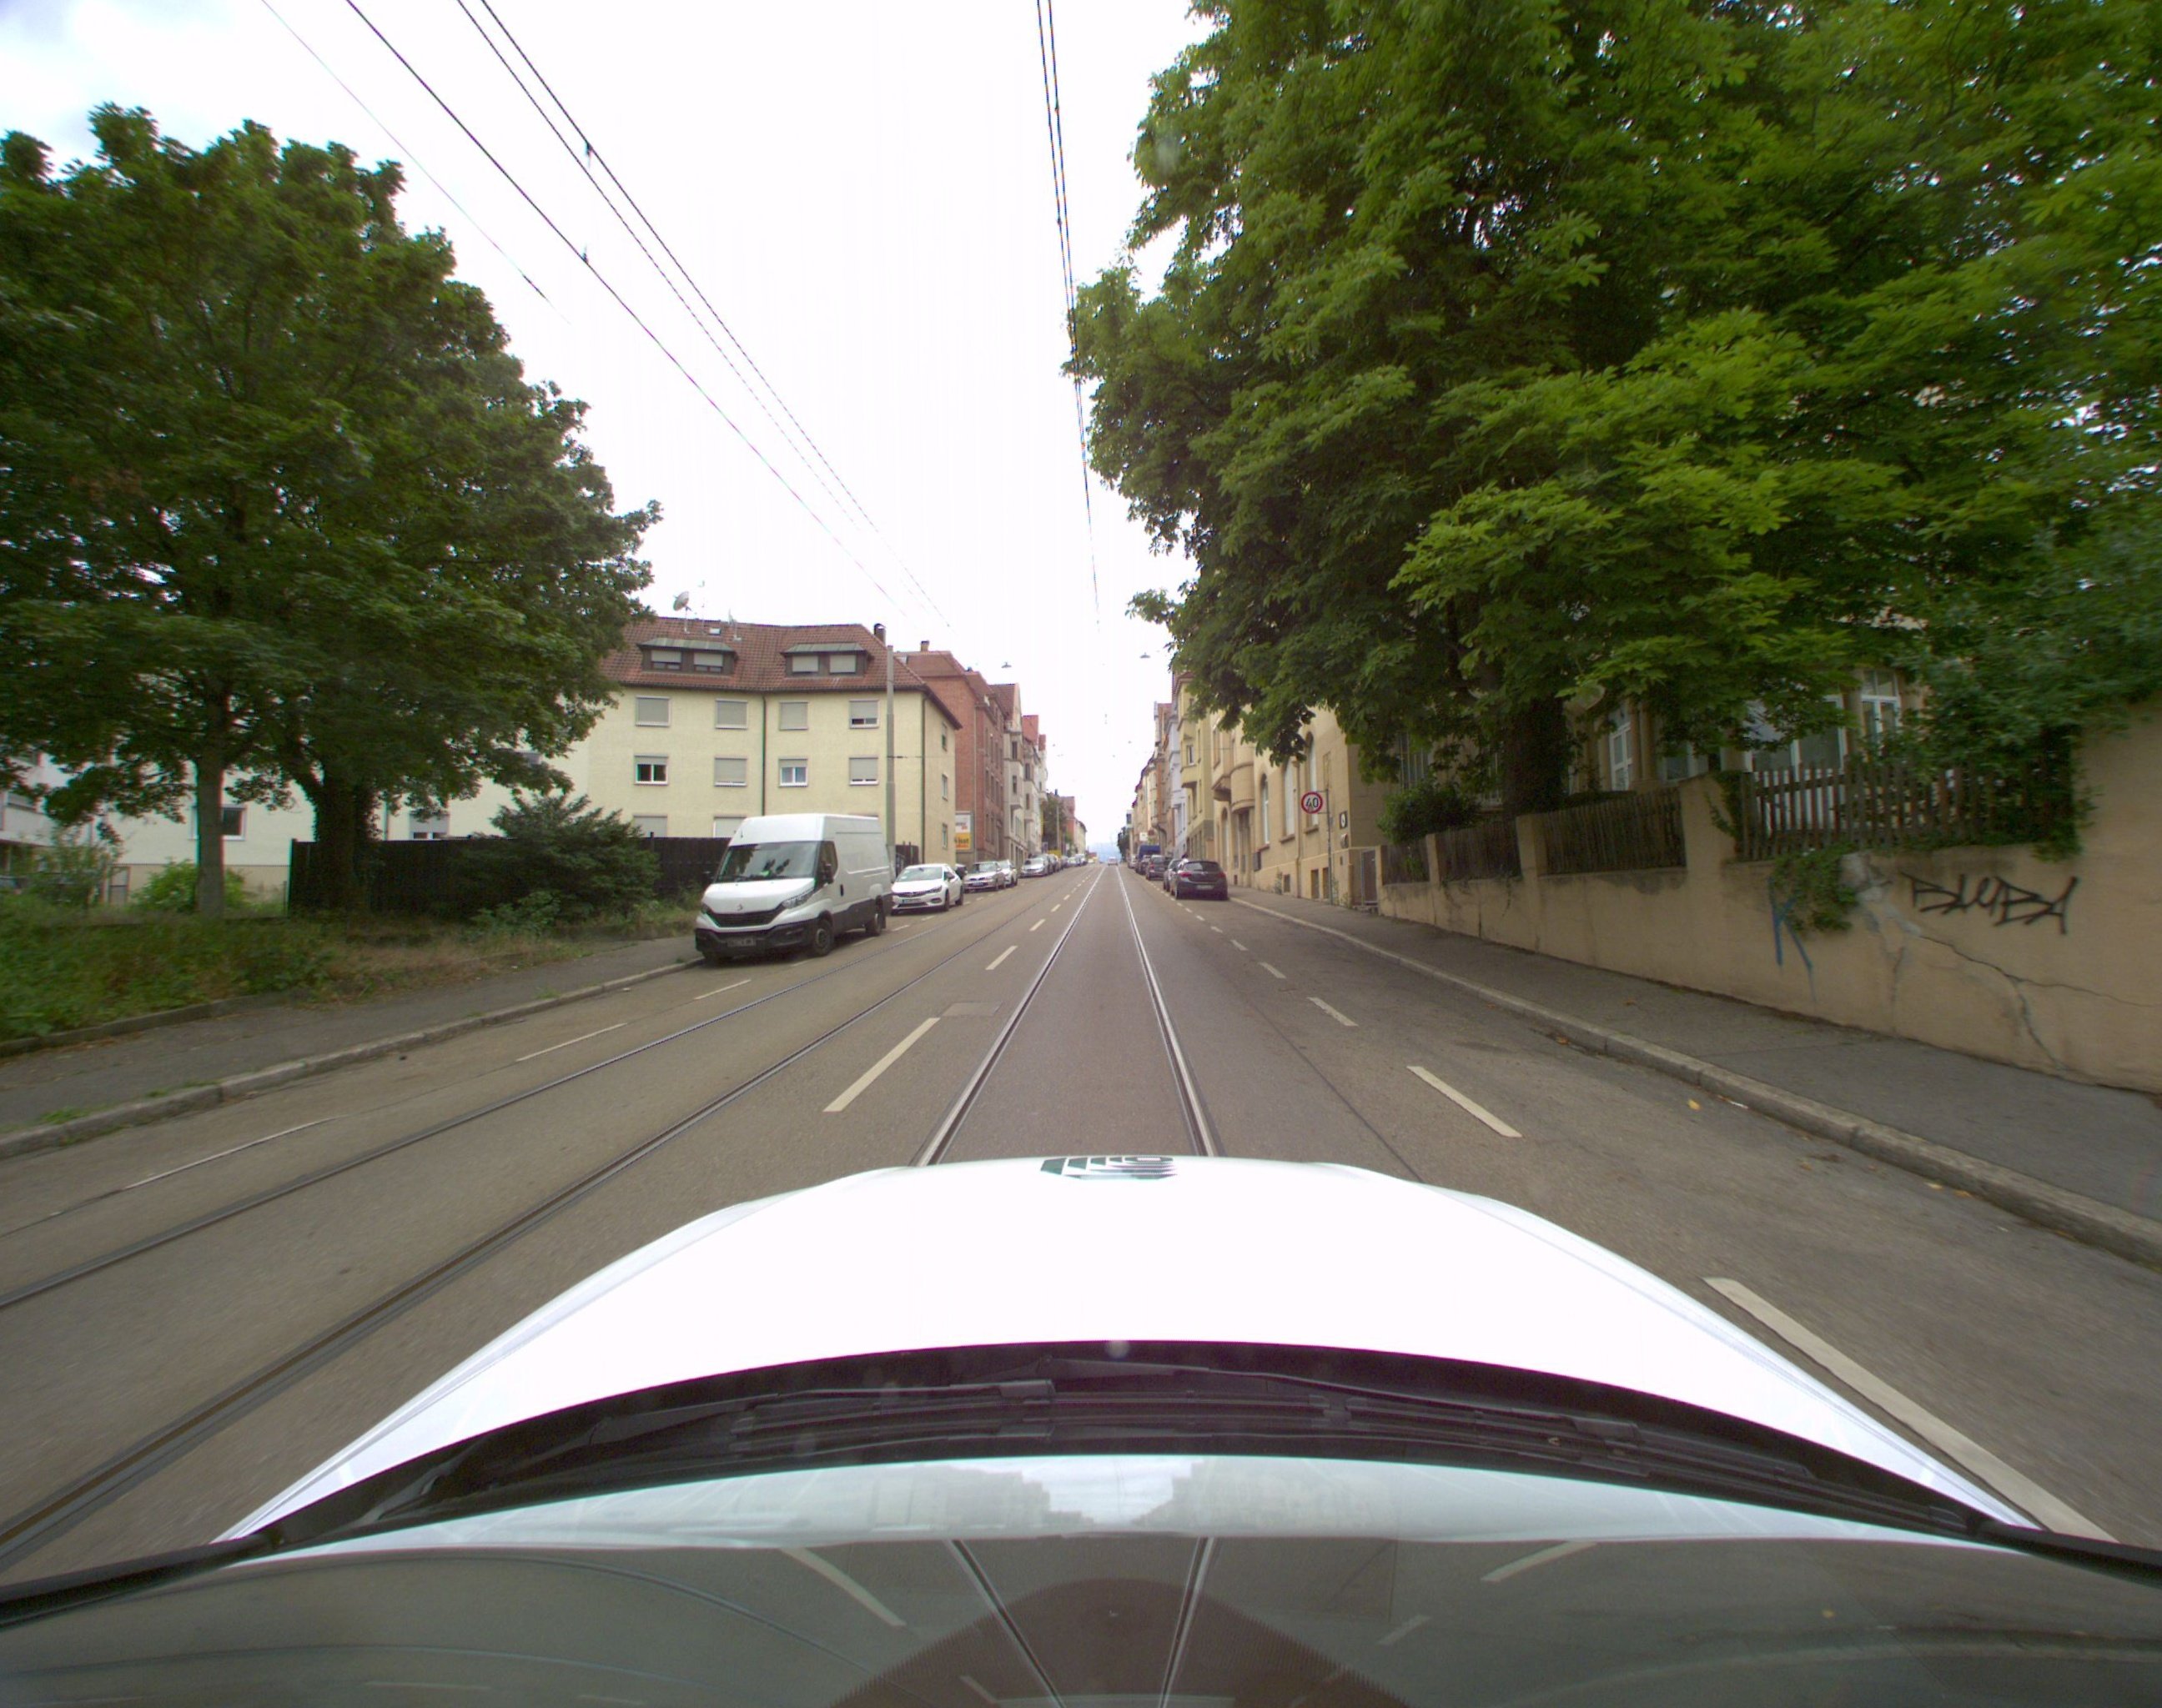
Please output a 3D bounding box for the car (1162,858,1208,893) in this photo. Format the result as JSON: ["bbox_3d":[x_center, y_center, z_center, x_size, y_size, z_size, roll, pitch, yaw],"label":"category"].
[{"bbox_3d":[4.541,0.895,35.946,1.688,1.404,3.670,1,0,3],"label":"car"}]

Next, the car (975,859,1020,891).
[{"bbox_3d":[-4.396,1.067,43.484,1.822,1.429,4.627,-5,0,0],"label":"car"}]

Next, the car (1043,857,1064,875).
[{"bbox_3d":[-2.779,1.194,82.717,1.690,1.594,4.271,-3,0,3],"label":"car"}]

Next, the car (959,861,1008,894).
[{"bbox_3d":[-4.594,1.092,38.994,1.594,1.368,3.810,-5,0,3],"label":"car"}]

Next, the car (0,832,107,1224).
[{"bbox_3d":[-5.937,0.836,1.776,1.754,1.775,4.672,-5,-1,3],"label":"car"}]

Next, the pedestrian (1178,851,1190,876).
[{"bbox_3d":[7.236,0.649,57.142,0.540,1.682,0.515,-5,-3,-6],"label":"pedestrian"}]

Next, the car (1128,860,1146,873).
[{"bbox_3d":[6.157,1.347,90.459,1.744,1.390,4.308,1,-1,1],"label":"car"}]

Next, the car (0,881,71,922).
[{"bbox_3d":[-40.388,1.779,30.825,1.682,1.415,3.691,1,-1,-34],"label":"car"}]

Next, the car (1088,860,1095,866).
[{"bbox_3d":[2.971,2.543,230.665,1.848,1.607,4.299,-1,-1,2],"label":"car"}]

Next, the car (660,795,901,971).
[{"bbox_3d":[-5.396,0.461,15.876,2.151,2.606,6.219,-4,0,1],"label":"car"}]

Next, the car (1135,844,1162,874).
[{"bbox_3d":[5.644,0.462,68.764,1.986,2.376,5.058,-1,-1,2],"label":"car"}]

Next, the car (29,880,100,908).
[{"bbox_3d":[-57.203,2.255,45.902,1.463,1.479,3.739,1,-3,-35],"label":"car"}]

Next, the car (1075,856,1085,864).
[{"bbox_3d":[-0.171,1.212,156.013,1.691,1.433,4.481,-3,-1,1],"label":"car"}]

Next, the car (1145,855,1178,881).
[{"bbox_3d":[4.988,0.864,51.004,1.820,1.519,4.030,1,0,3],"label":"car"}]

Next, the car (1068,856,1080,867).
[{"bbox_3d":[-1.150,1.224,137.539,1.736,1.736,4.523,-3,-1,4],"label":"car"}]

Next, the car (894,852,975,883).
[{"bbox_3d":[-10.122,0.924,56.576,5.161,1.818,1.939,-3,0,-2],"label":"car"}]

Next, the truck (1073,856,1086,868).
[{"bbox_3d":[-0.259,1.598,164.250,2.270,2.188,8.031,-1,-1,3],"label":"truck"}]

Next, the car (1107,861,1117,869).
[{"bbox_3d":[5.597,2.006,148.710,1.666,1.513,3.798,-1,-1,1],"label":"car"}]

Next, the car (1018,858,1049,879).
[{"bbox_3d":[-3.600,1.081,62.902,1.820,1.429,4.842,-3,0,3],"label":"car"}]

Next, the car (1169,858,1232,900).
[{"bbox_3d":[4.291,0.890,29.759,1.832,1.403,4.169,1,-1,2],"label":"car"}]

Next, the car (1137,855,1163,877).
[{"bbox_3d":[5.325,0.930,63.272,1.773,1.530,4.193,2,-1,1],"label":"car"}]

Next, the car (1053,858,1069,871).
[{"bbox_3d":[-2.433,1.260,98.628,1.690,1.468,3.025,-3,-1,3],"label":"car"}]

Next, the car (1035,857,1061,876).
[{"bbox_3d":[-3.081,1.163,76.764,1.866,1.664,4.895,-3,0,3],"label":"car"}]

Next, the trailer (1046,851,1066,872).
[{"bbox_3d":[-2.668,0.768,86.892,1.741,2.155,4.074,-3,0,3],"label":"trailer"}]

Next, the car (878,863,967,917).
[{"bbox_3d":[-4.851,1.052,25.528,1.712,1.403,4.315,-4,0,2],"label":"car"}]

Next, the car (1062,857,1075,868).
[{"bbox_3d":[-1.873,1.314,126.371,1.689,1.556,3.853,-1,-1,4],"label":"car"}]

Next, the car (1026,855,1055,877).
[{"bbox_3d":[-3.367,0.960,68.365,1.820,1.718,4.916,-3,0,3],"label":"car"}]
